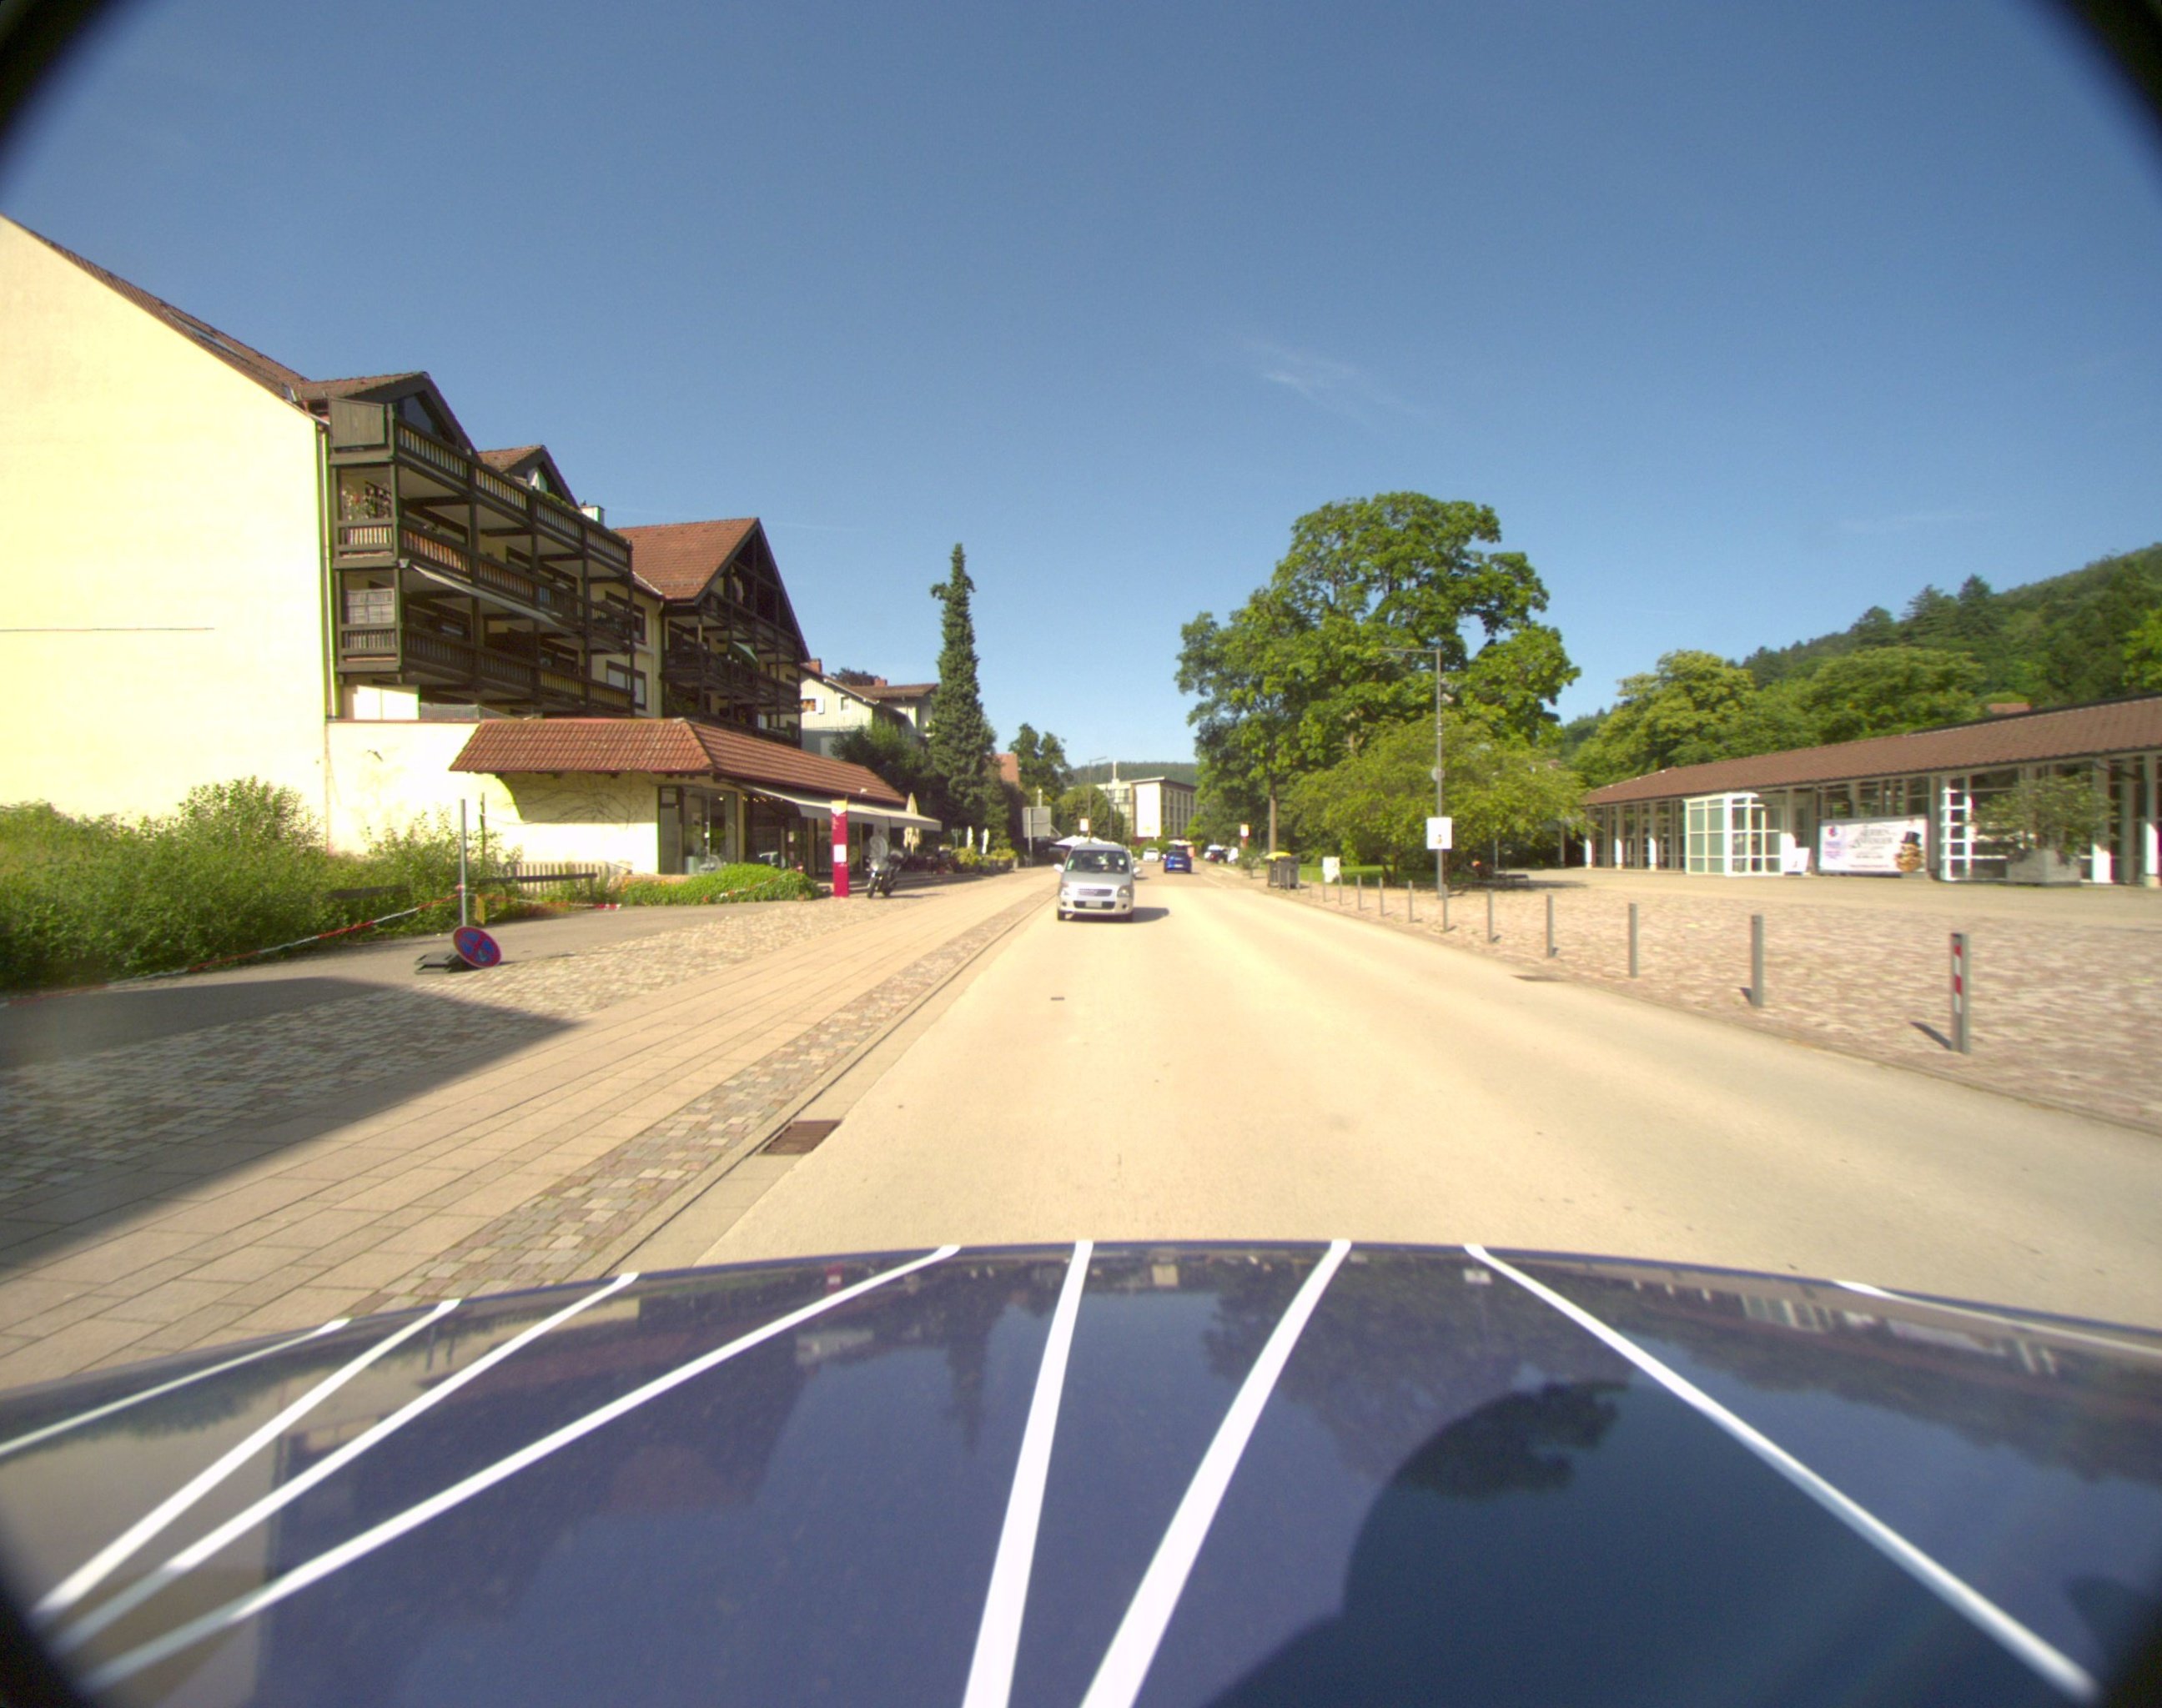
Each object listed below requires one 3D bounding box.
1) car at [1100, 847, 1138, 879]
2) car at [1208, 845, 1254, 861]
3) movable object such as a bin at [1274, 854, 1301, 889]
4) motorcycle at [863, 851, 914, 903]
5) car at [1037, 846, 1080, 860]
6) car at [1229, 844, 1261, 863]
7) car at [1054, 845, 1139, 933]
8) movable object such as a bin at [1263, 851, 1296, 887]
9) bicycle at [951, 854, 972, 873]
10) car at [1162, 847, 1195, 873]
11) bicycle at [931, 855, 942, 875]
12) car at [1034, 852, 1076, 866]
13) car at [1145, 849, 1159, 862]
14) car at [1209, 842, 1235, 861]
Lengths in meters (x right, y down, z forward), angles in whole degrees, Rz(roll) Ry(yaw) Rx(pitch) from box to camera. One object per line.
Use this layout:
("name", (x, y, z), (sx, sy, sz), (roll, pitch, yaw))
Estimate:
("car", (1.922, 0.424, 37.742), (1.740, 1.488, 3.930), (-1, 0, 4))
("car", (15.212, -0.110, 77.134), (4.286, 1.423, 1.713), (-2, 1, 1))
("movable object such as a bin", (8.148, 0.679, 30.076), (0.756, 1.334, 1.295), (-2, 1, 4))
("motorcycle", (-5.234, 0.589, 20.814), (0.698, 1.289, 2.212), (2, 1, 3))
("car", (-2.376, -0.130, 80.301), (4.270, 1.371, 1.710), (0, 1, 8))
("car", (14.550, -0.034, 67.399), (2.655, 1.538, 1.684), (-2, 1, 13))
("car", (0.240, 0.636, 16.337), (1.605, 1.628, 3.998), (0, 1, -2))
("movable object such as a bin", (8.362, 0.608, 32.075), (1.081, 1.419, 1.377), (-2, 1, 4))
("bicycle", (-5.664, 0.461, 36.023), (0.397, 0.859, 1.617), (0, 1, 13))
("car", (6.311, 0.358, 49.650), (1.745, 1.454, 4.186), (2, 2, 2))
("bicycle", (-6.832, 0.501, 35.791), (0.397, 0.837, 1.613), (-1, 2, -14))
("car", (-2.686, 0.464, 78.246), (4.117, 1.407, 1.749), (0, 1, 8))
("car", (8.413, 0.193, 89.810), (1.653, 1.462, 4.001), (-2, 0, 6))
("car", (22.679, -0.430, 122.265), (1.785, 2.775, 5.924), (-2, 1, 35))
